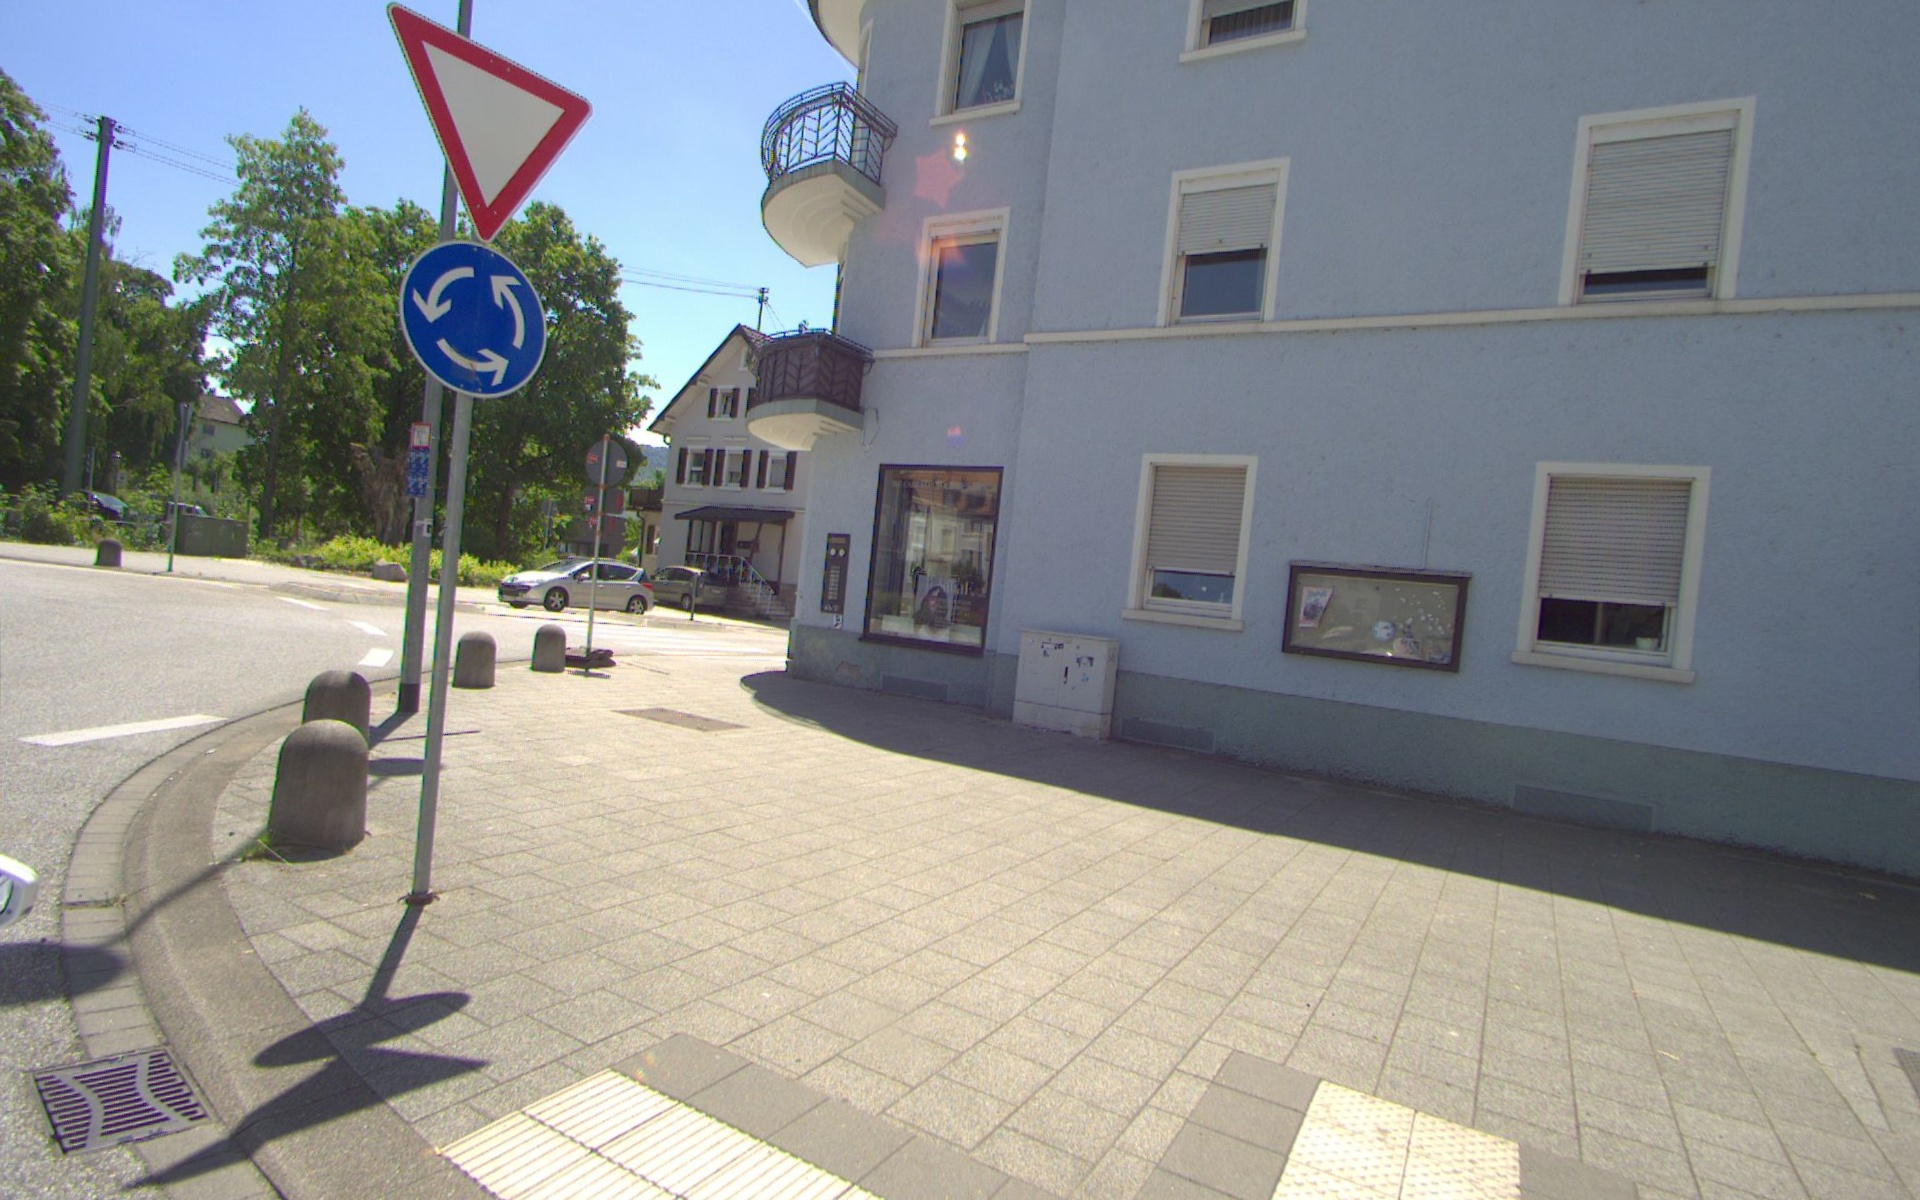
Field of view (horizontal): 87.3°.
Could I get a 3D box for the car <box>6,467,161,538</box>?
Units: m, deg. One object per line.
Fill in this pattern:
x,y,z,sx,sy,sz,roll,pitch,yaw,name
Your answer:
-33.976,-3.742,39.105,3.933,2.039,1.996,7,0,-10,car

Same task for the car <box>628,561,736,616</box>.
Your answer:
-10.877,-0.459,39.262,3.935,1.660,1.753,7,0,33,car

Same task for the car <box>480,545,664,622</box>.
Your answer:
-10.071,-0.386,26.432,1.717,1.535,4.197,7,0,33,car

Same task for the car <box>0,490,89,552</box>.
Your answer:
-27.506,-2.362,29.088,1.603,1.572,3.059,7,0,17,car

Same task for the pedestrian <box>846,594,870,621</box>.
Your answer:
-4.387,0.339,43.358,0.660,1.068,0.698,7,1,28,pedestrian

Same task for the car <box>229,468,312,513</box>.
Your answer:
-41.760,-6.608,61.017,3.961,2.039,1.981,7,1,-34,car
